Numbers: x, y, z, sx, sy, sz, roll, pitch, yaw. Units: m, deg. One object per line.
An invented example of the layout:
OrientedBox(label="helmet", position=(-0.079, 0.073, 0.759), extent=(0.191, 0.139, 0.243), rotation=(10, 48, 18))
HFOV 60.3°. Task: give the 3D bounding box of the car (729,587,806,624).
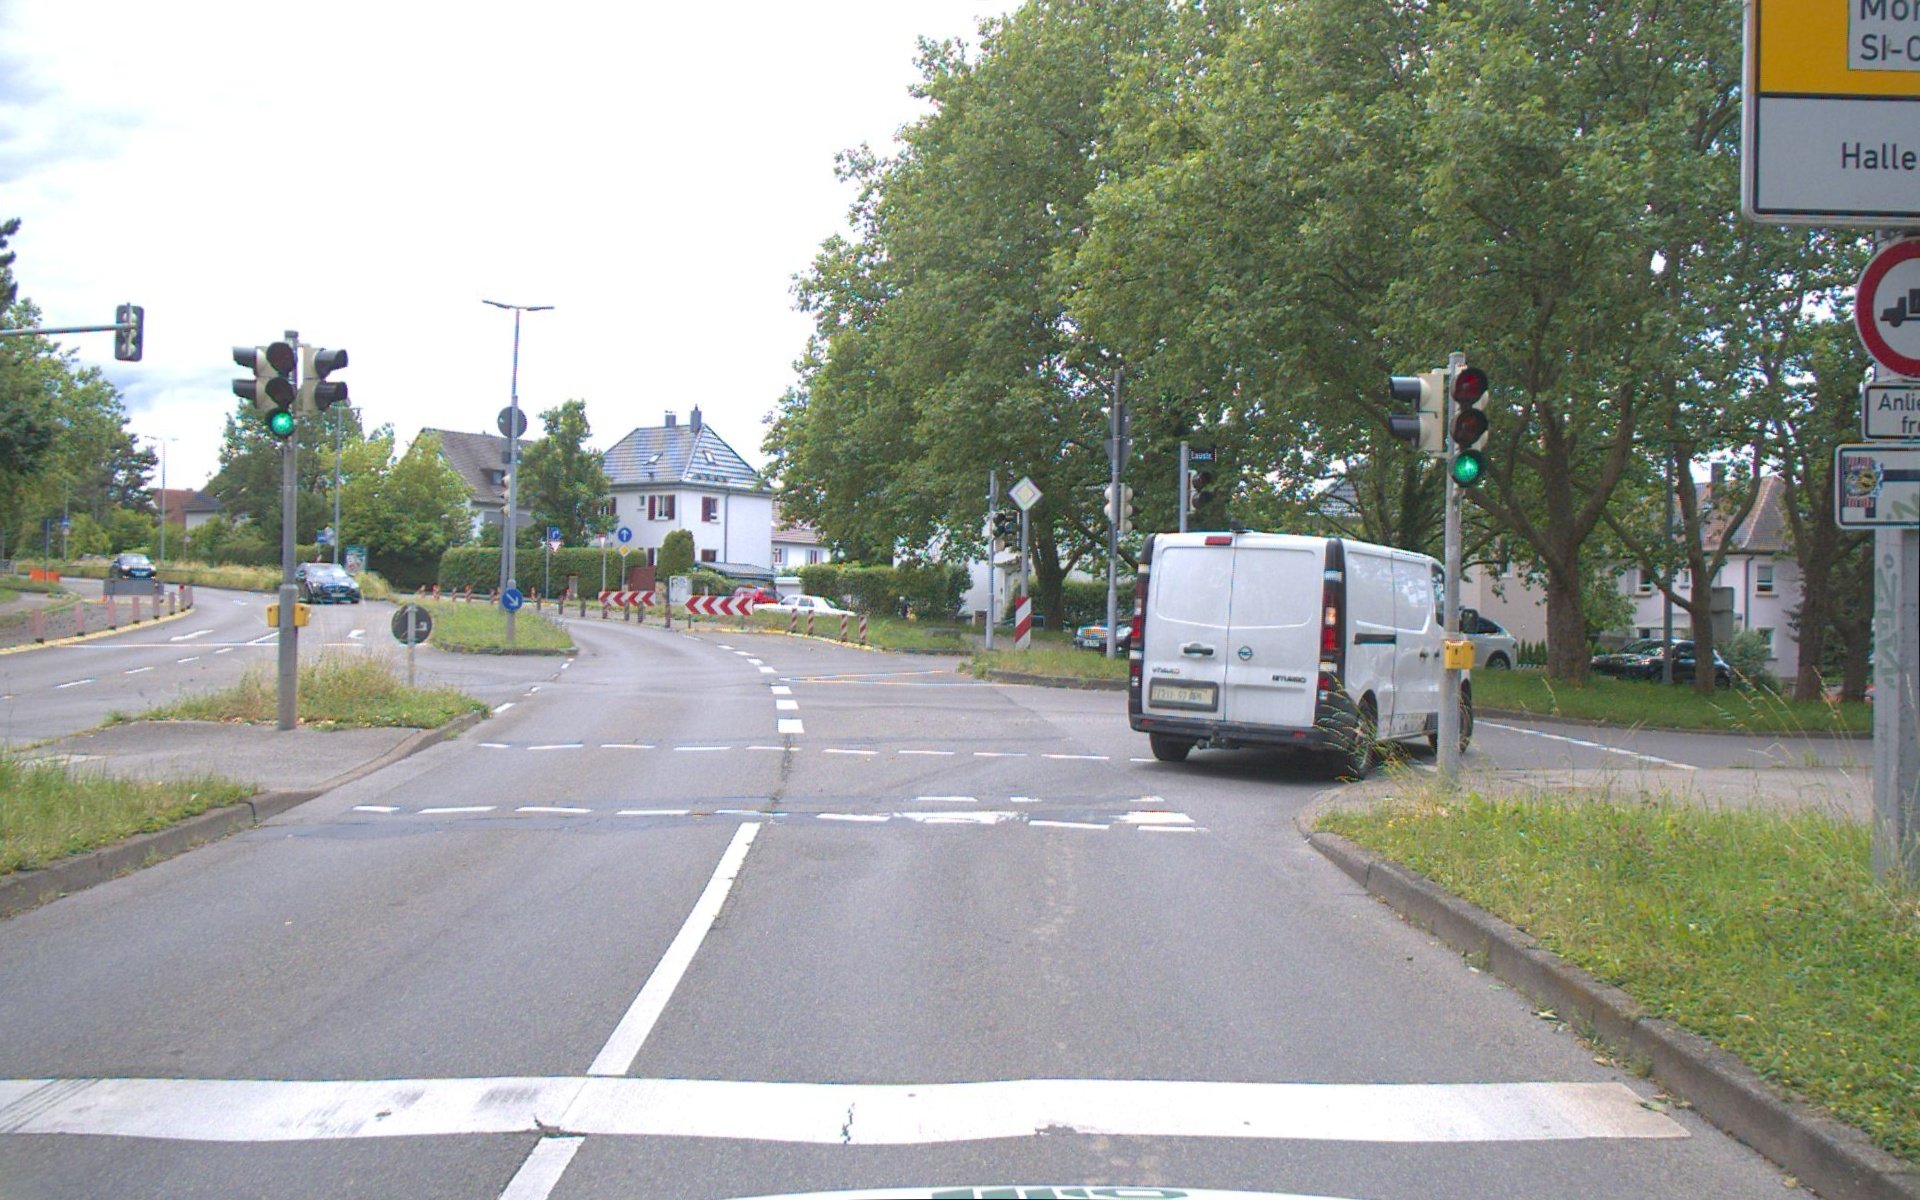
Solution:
OrientedBox(label="car", position=(-9.295, 0.276, 80.057), extent=(1.576, 1.544, 3.813), rotation=(3, -2, 33))

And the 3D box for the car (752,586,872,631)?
OrientedBox(label="car", position=(-6.487, 0.375, 72.647), extent=(4.770, 1.822, 2.215), rotation=(2, 0, 25))

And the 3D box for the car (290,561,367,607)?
OrientedBox(label="car", position=(-23.956, -0.619, 62.648), extent=(1.824, 1.660, 4.210), rotation=(0, 1, -34))

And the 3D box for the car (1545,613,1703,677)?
OrientedBox(label="car", position=(17.956, 1.228, 44.675), extent=(4.559, 1.619, 1.741), rotation=(2, 0, -35))

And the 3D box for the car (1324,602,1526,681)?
OrientedBox(label="car", position=(10.752, 0.962, 38.119), extent=(4.849, 1.687, 1.835), rotation=(1, 0, -35))

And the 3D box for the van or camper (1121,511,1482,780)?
OrientedBox(label="van or camper", position=(3.320, 0.350, 15.202), extent=(1.888, 2.049, 4.821), rotation=(1, 0, 29))

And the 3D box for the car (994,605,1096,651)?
OrientedBox(label="car", position=(3.537, 1.152, 68.786), extent=(3.900, 1.540, 1.663), rotation=(5, 1, 14))

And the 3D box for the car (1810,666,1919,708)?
OrientedBox(label="car", position=(37.124, 3.548, 67.548), extent=(4.191, 1.499, 1.727), rotation=(3, -2, -13))

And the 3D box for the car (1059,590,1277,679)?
OrientedBox(label="car", position=(4.297, 0.712, 33.849), extent=(4.335, 1.544, 1.741), rotation=(4, -2, -35))
